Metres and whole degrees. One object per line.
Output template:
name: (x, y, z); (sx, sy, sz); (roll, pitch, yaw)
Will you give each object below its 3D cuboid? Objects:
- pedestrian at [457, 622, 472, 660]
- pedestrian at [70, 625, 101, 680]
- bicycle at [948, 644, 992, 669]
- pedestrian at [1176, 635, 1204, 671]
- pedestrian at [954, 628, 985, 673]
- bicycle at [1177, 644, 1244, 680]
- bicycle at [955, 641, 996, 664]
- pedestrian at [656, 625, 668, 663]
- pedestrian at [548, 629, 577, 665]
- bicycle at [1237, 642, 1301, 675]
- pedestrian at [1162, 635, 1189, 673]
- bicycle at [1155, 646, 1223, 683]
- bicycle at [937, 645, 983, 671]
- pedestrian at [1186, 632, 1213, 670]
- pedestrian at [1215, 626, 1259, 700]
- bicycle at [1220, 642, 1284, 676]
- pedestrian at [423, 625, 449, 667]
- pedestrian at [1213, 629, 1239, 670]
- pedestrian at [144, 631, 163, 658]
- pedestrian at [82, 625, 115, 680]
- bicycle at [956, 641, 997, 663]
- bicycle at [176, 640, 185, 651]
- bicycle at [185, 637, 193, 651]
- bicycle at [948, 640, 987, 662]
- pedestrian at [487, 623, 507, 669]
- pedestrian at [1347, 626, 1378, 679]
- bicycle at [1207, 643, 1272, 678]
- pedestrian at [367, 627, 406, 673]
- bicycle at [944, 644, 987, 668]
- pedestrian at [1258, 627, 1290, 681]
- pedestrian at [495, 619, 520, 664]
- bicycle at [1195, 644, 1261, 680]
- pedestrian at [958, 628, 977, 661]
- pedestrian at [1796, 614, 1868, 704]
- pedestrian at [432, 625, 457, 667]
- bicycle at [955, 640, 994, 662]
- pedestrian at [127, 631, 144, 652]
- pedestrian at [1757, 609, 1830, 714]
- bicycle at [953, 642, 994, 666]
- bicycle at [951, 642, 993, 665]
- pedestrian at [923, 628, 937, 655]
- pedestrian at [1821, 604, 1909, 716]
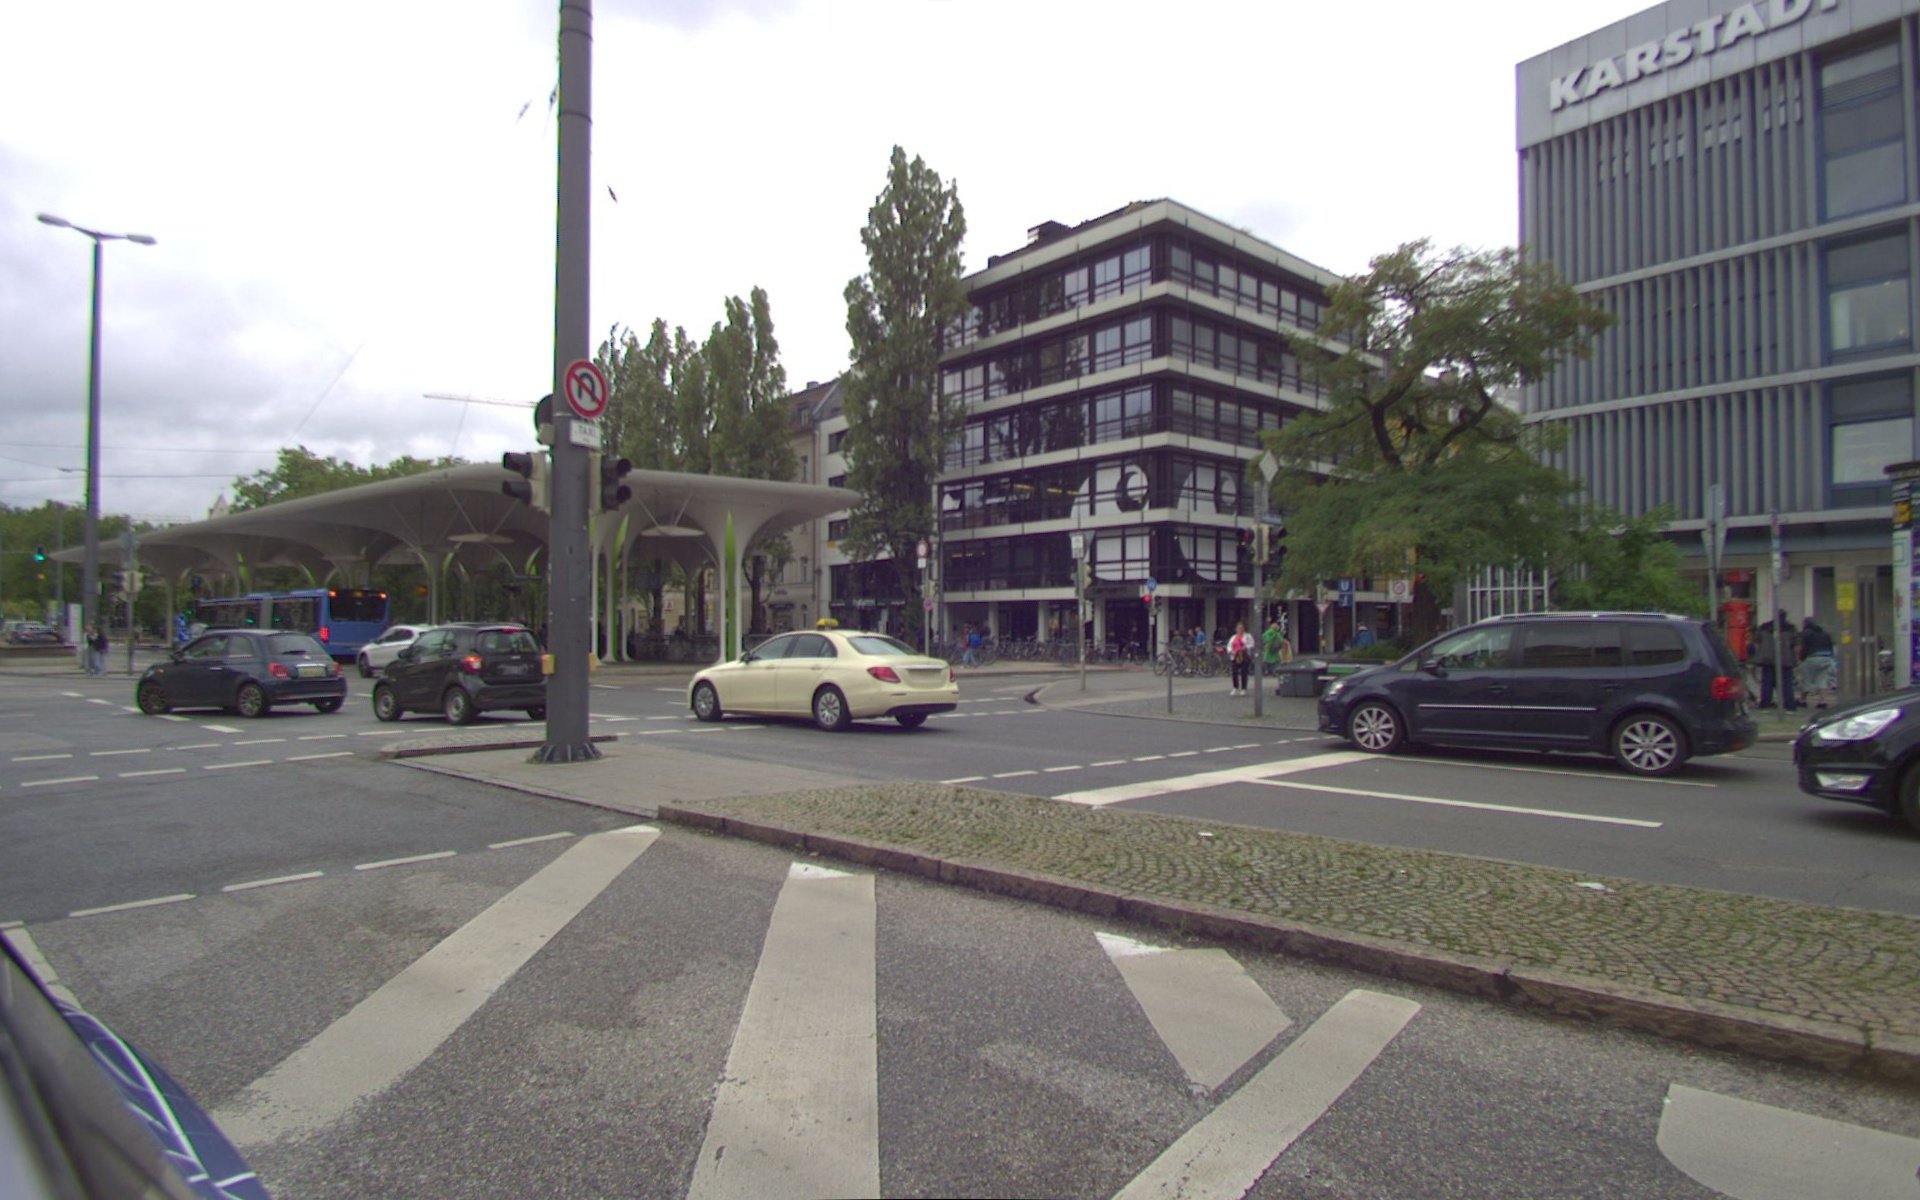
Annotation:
pedestrian: (-20.705, 1.715, 42.315); (0.511, 1.600, 0.482); (0, -2, -19)
pedestrian: (-26.292, 1.576, 30.438); (0.514, 1.631, 0.464); (0, -2, -6)
bicycle: (0.384, 2.271, 40.663); (1.719, 0.946, 0.452); (0, -2, 21)
pedestrian: (10.270, 2.348, 45.187); (0.730, 1.600, 0.951); (1, -3, -38)
pedestrian: (0.365, 1.884, 37.694); (0.790, 1.654, 0.845); (-2, -3, 45)
bicycle: (7.705, 1.886, 31.173); (1.985, 1.005, 0.521); (1, -1, 41)
bicycle: (0.672, 2.259, 43.583); (1.704, 0.946, 0.456); (1, -1, -8)
pedestrian: (-15.364, 2.275, 52.227); (0.418, 1.947, 0.481); (-1, -2, 12)
pedestrian: (-16.487, 1.936, 41.995); (1.008, 1.464, 0.856); (0, -2, -14)
bicycle: (10.365, 1.957, 33.984); (1.985, 1.005, 0.521); (1, -1, 41)
pedestrian: (9.555, 2.370, 44.798); (0.777, 1.654, 0.860); (1, -3, -38)
bicycle: (6.858, 1.913, 30.383); (1.985, 1.005, 0.521); (1, -1, 41)
bicycle: (-0.010, 2.203, 38.600); (1.718, 0.946, 0.452); (0, -1, 20)
pedestrian: (10.845, 2.303, 45.902); (0.789, 1.666, 0.854); (1, -3, -38)
pedestrian: (6.099, 1.378, 22.273); (0.720, 1.586, 0.631); (-2, -2, 40)
bicycle: (9.541, 1.905, 33.092); (1.985, 1.005, 0.521); (1, -1, 41)
pedestrian: (-21.240, 1.839, 41.025); (0.737, 1.687, 0.632); (0, -2, -6)
pedestrian: (13.512, 2.502, 51.373); (0.901, 2.029, 0.839); (0, -2, -24)
pedestrian: (-56.114, 3.093, 70.418); (0.802, 1.853, 0.664); (-1, -2, 10)
pedestrian: (-25.887, 1.563, 30.407); (0.551, 1.631, 0.487); (0, -2, 6)
bicycle: (0.729, 2.257, 44.126); (1.704, 0.946, 0.456); (1, -1, -8)
bicycle: (-65.811, 3.814, 85.422); (0.473, 0.901, 1.852); (1, -2, -42)
bicycle: (-65.385, 3.728, 85.767); (0.472, 1.104, 1.853); (1, -2, -39)
bicycle: (0.318, 2.269, 45.302); (1.704, 0.946, 0.455); (1, -1, -6)
pedestrian: (-17.884, 1.776, 39.116); (0.540, 1.733, 0.616); (1, -2, -42)
pedestrian: (13.213, 1.700, 33.213); (0.858, 1.700, 0.781); (-1, -2, 29)
bicycle: (8.948, 1.924, 32.468); (1.985, 1.005, 0.521); (1, -1, 41)
pedestrian: (-21.250, 1.839, 37.536); (0.832, 1.694, 0.970); (-1, -2, 10)
bicycle: (0.224, 2.275, 41.207); (1.717, 0.946, 0.452); (0, -1, 19)
pedestrian: (9.683, 1.641, 31.193); (0.805, 1.631, 0.834); (-1, -2, 25)
pedestrian: (-18.486, 1.677, 41.332); (0.793, 1.831, 0.707); (1, -2, -35)
bicycle: (8.427, 1.940, 31.892); (1.985, 1.005, 0.521); (1, -1, 41)
pedestrian: (0.402, 2.485, 56.962); (0.710, 1.814, 0.829); (1, -2, -40)
pedestrian: (15.677, 1.054, 18.214); (0.747, 1.566, 0.766); (-1, -2, 25)
pedestrian: (-21.325, 1.885, 41.850); (0.694, 1.724, 0.758); (0, -2, -8)
bicycle: (0.637, 2.259, 44.828); (1.704, 0.946, 0.455); (1, -1, -6)
pedestrian: (-66.164, 3.326, 81.201); (0.737, 1.641, 0.734); (-1, -2, 19)
pedestrian: (13.735, 1.001, 16.682); (0.760, 1.666, 0.753); (1, -3, -39)
bicycle: (0.550, 2.264, 42.330); (1.707, 0.946, 0.455); (1, -1, 0)
bicycle: (0.498, 2.265, 42.984); (1.704, 0.946, 0.456); (1, -1, -8)
pedestrian: (-1.820, 2.495, 61.118); (0.585, 1.604, 0.675); (1, -2, -35)
pedestrian: (14.814, 0.967, 16.593); (0.766, 1.787, 0.747); (-1, -2, 17)
